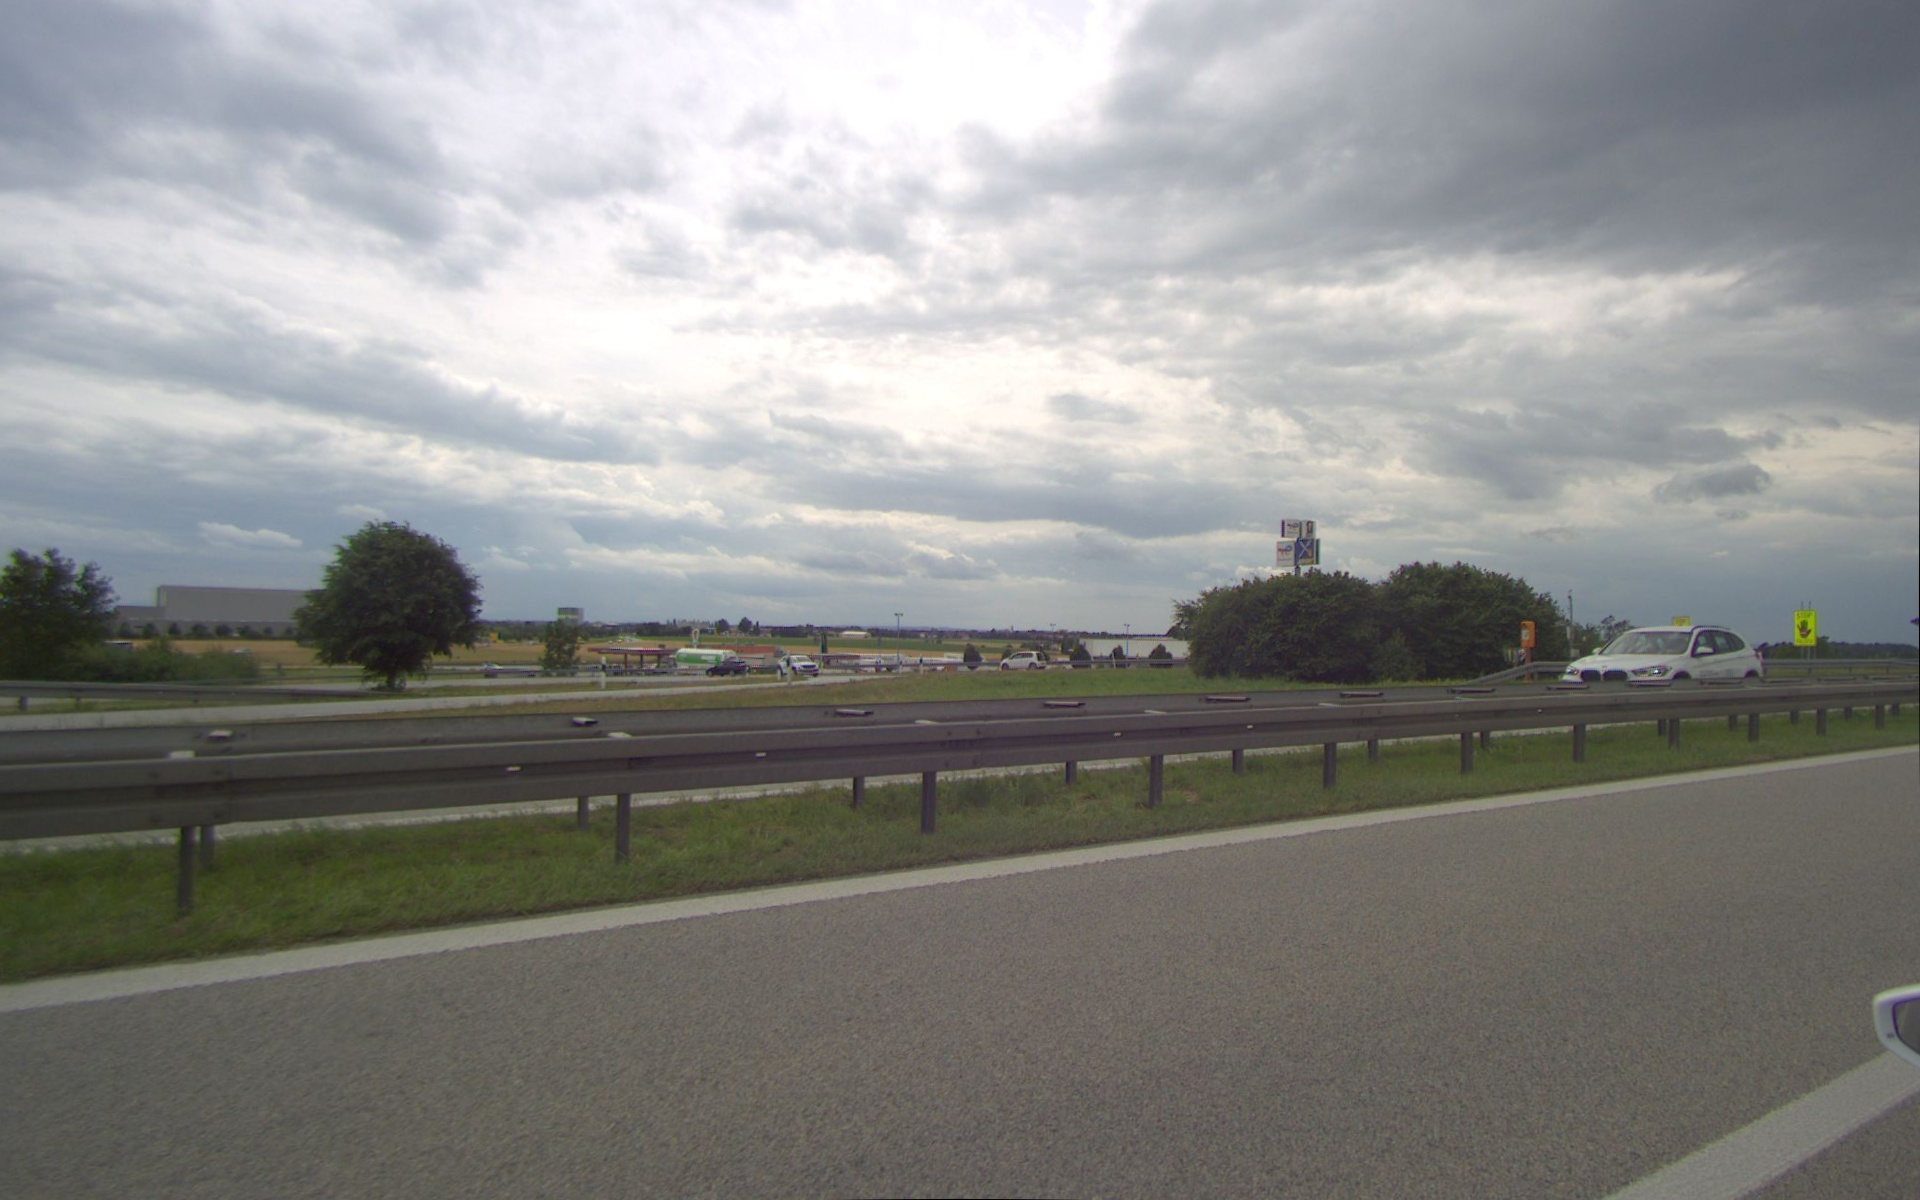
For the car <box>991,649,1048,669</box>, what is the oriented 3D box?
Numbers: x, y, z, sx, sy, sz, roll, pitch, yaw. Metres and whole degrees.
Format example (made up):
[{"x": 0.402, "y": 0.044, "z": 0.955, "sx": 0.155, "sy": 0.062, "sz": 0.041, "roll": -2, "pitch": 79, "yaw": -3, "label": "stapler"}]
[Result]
[{"x": 4.565, "y": 4.524, "z": 76.948, "sx": 3.930, "sy": 1.318, "sz": 1.882, "roll": -4, "pitch": -1, "yaw": 31, "label": "car"}]

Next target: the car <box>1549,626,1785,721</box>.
[{"x": 13.373, "y": 1.312, "z": 18.929, "sx": 4.760, "sy": 1.609, "sz": 1.845, "roll": 1, "pitch": -2, "yaw": -30, "label": "car"}]

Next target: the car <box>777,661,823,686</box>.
[{"x": -11.972, "y": 5.475, "z": 75.080, "sx": 1.898, "sy": 1.493, "sz": 4.255, "roll": 2, "pitch": 1, "yaw": -32, "label": "car"}]

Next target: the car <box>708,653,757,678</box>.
[{"x": -20.886, "y": 5.985, "z": 92.179, "sx": 3.925, "sy": 2.040, "sz": 1.998, "roll": 1, "pitch": 0, "yaw": 26, "label": "car"}]
